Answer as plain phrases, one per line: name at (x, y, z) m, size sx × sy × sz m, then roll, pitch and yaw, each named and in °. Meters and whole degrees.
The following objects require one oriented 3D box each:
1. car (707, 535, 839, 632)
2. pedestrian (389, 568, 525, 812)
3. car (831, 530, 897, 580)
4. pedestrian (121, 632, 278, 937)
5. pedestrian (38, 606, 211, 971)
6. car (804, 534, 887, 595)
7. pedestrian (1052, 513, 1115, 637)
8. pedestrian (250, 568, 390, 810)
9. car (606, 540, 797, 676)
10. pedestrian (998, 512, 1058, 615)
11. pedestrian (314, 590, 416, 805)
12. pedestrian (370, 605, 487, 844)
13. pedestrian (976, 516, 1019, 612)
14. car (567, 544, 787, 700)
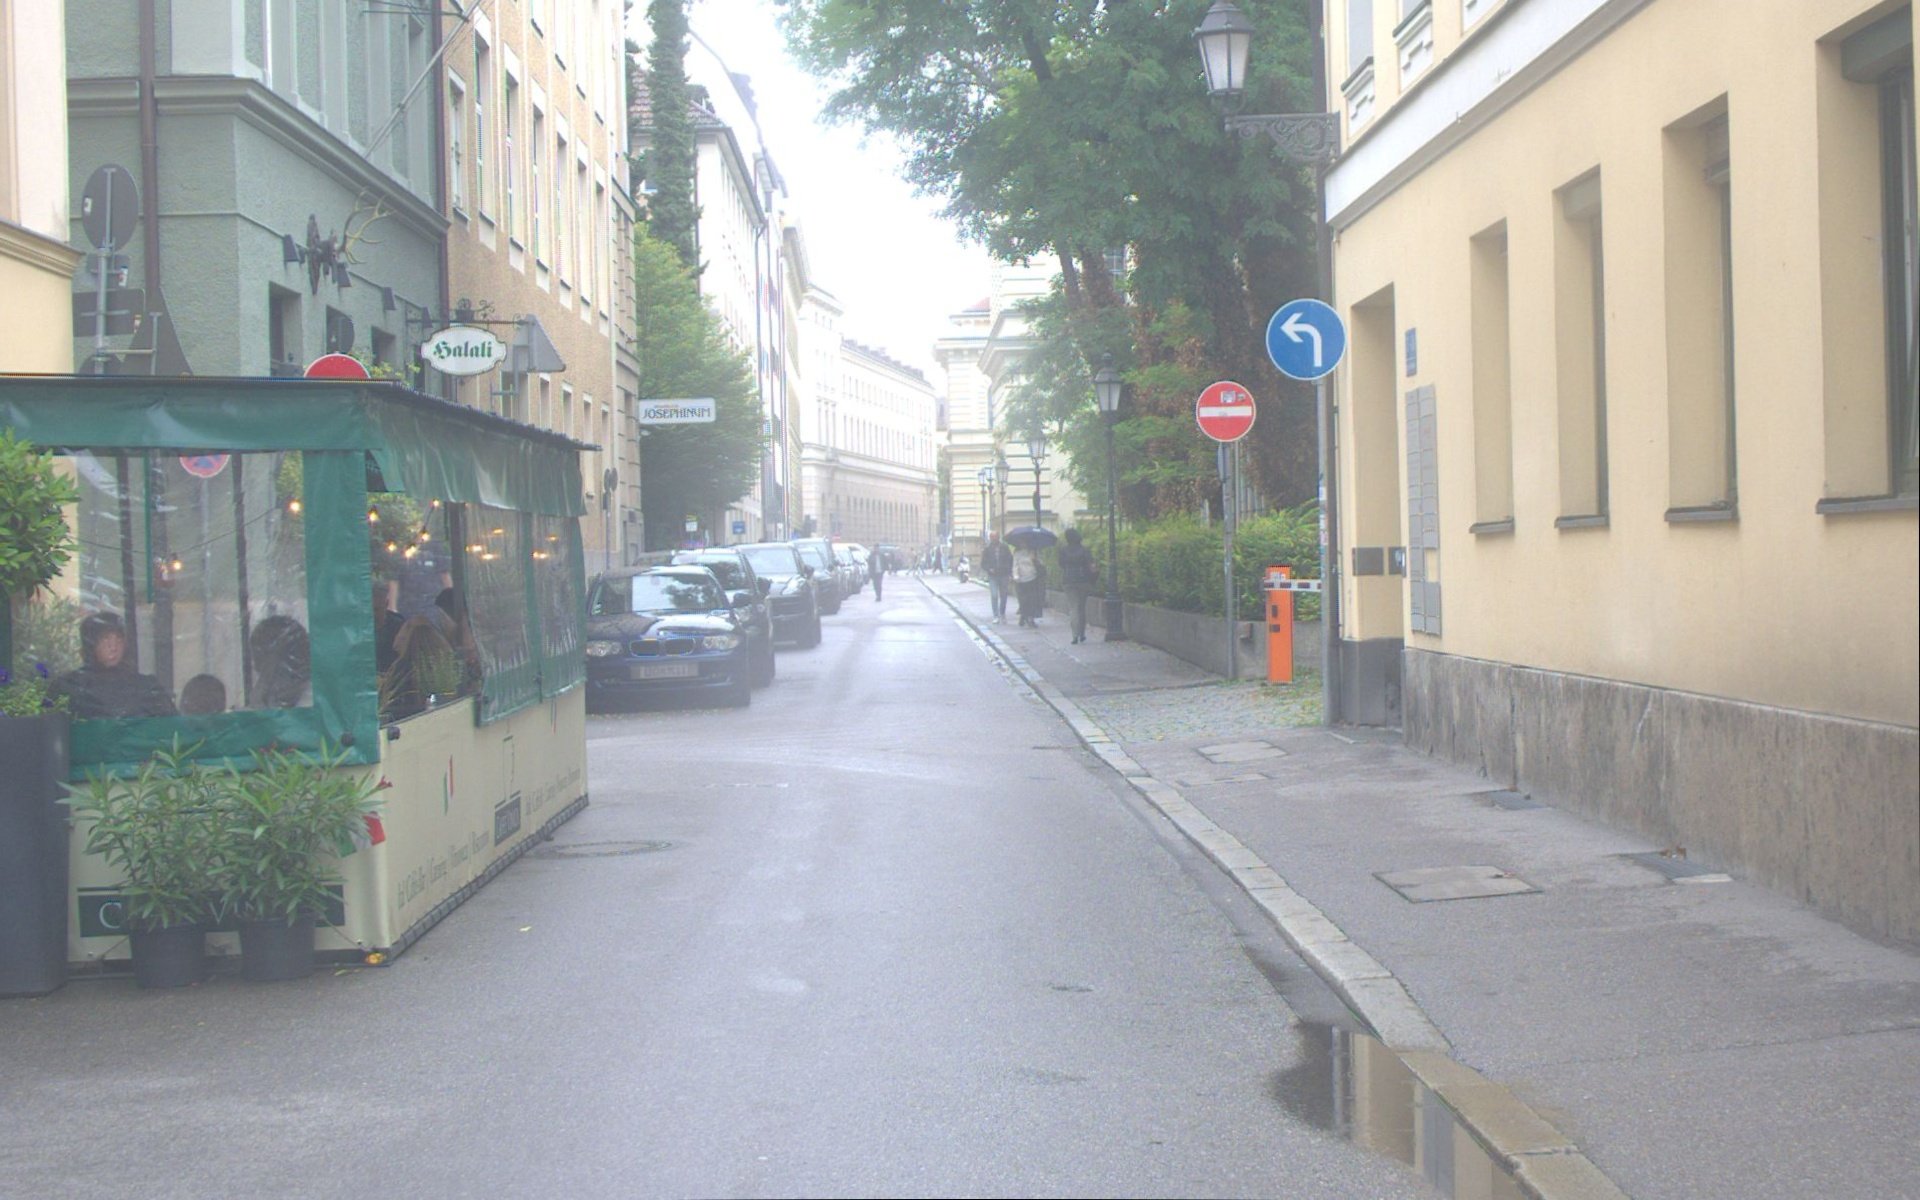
car at (-2.907, -0.283, 54.059) m, size 1.779 × 1.461 × 3.542 m, roll 0°, pitch 1°, yaw 2°
pedestrian at (-2.794, 0.489, 19.159) m, size 0.673 × 1.322 × 0.696 m, roll 0°, pitch 1°, yaw -3°
car at (-2.898, -1.383, 104.453) m, size 1.779 × 1.461 × 3.542 m, roll 0°, pitch 1°, yaw 2°
pedestrian at (-3.074, 0.734, 13.931) m, size 0.509 × 1.183 × 0.631 m, roll 0°, pitch 1°, yaw -3°
pedestrian at (-3.132, 0.692, 12.918) m, size 0.509 × 1.322 × 0.631 m, roll 0°, pitch 1°, yaw -3°
car at (-2.777, -0.883, 83.787) m, size 1.779 × 1.461 × 3.542 m, roll 0°, pitch 1°, yaw 2°
pedestrian at (1.801, -0.371, 50.248) m, size 0.880 × 1.796 × 1.046 m, roll 0°, pitch 1°, yaw 0°
pedestrian at (-3.587, 0.488, 19.317) m, size 0.673 × 1.322 × 0.696 m, roll 0°, pitch 1°, yaw -3°
car at (-2.893, 0.061, 39.104) m, size 1.779 × 1.461 × 3.542 m, roll 0°, pitch 1°, yaw 2°
pedestrian at (1.194, -0.650, 60.495) m, size 1.015 × 1.796 × 1.349 m, roll 0°, pitch 1°, yaw 0°
pedestrian at (-3.497, 0.564, 20.228) m, size 0.509 × 1.233 × 0.631 m, roll 0°, pitch 1°, yaw -3°
pedestrian at (-2.685, 0.619, 17.400) m, size 0.509 × 1.171 × 0.631 m, roll 0°, pitch 1°, yaw -3°
pedestrian at (0.708, -0.686, 65.115) m, size 0.793 × 1.796 × 0.903 m, roll 0°, pitch 1°, yaw 0°
car at (-2.784, 0.180, 34.508) m, size 1.779 × 1.461 × 3.663 m, roll 0°, pitch 1°, yaw 2°
